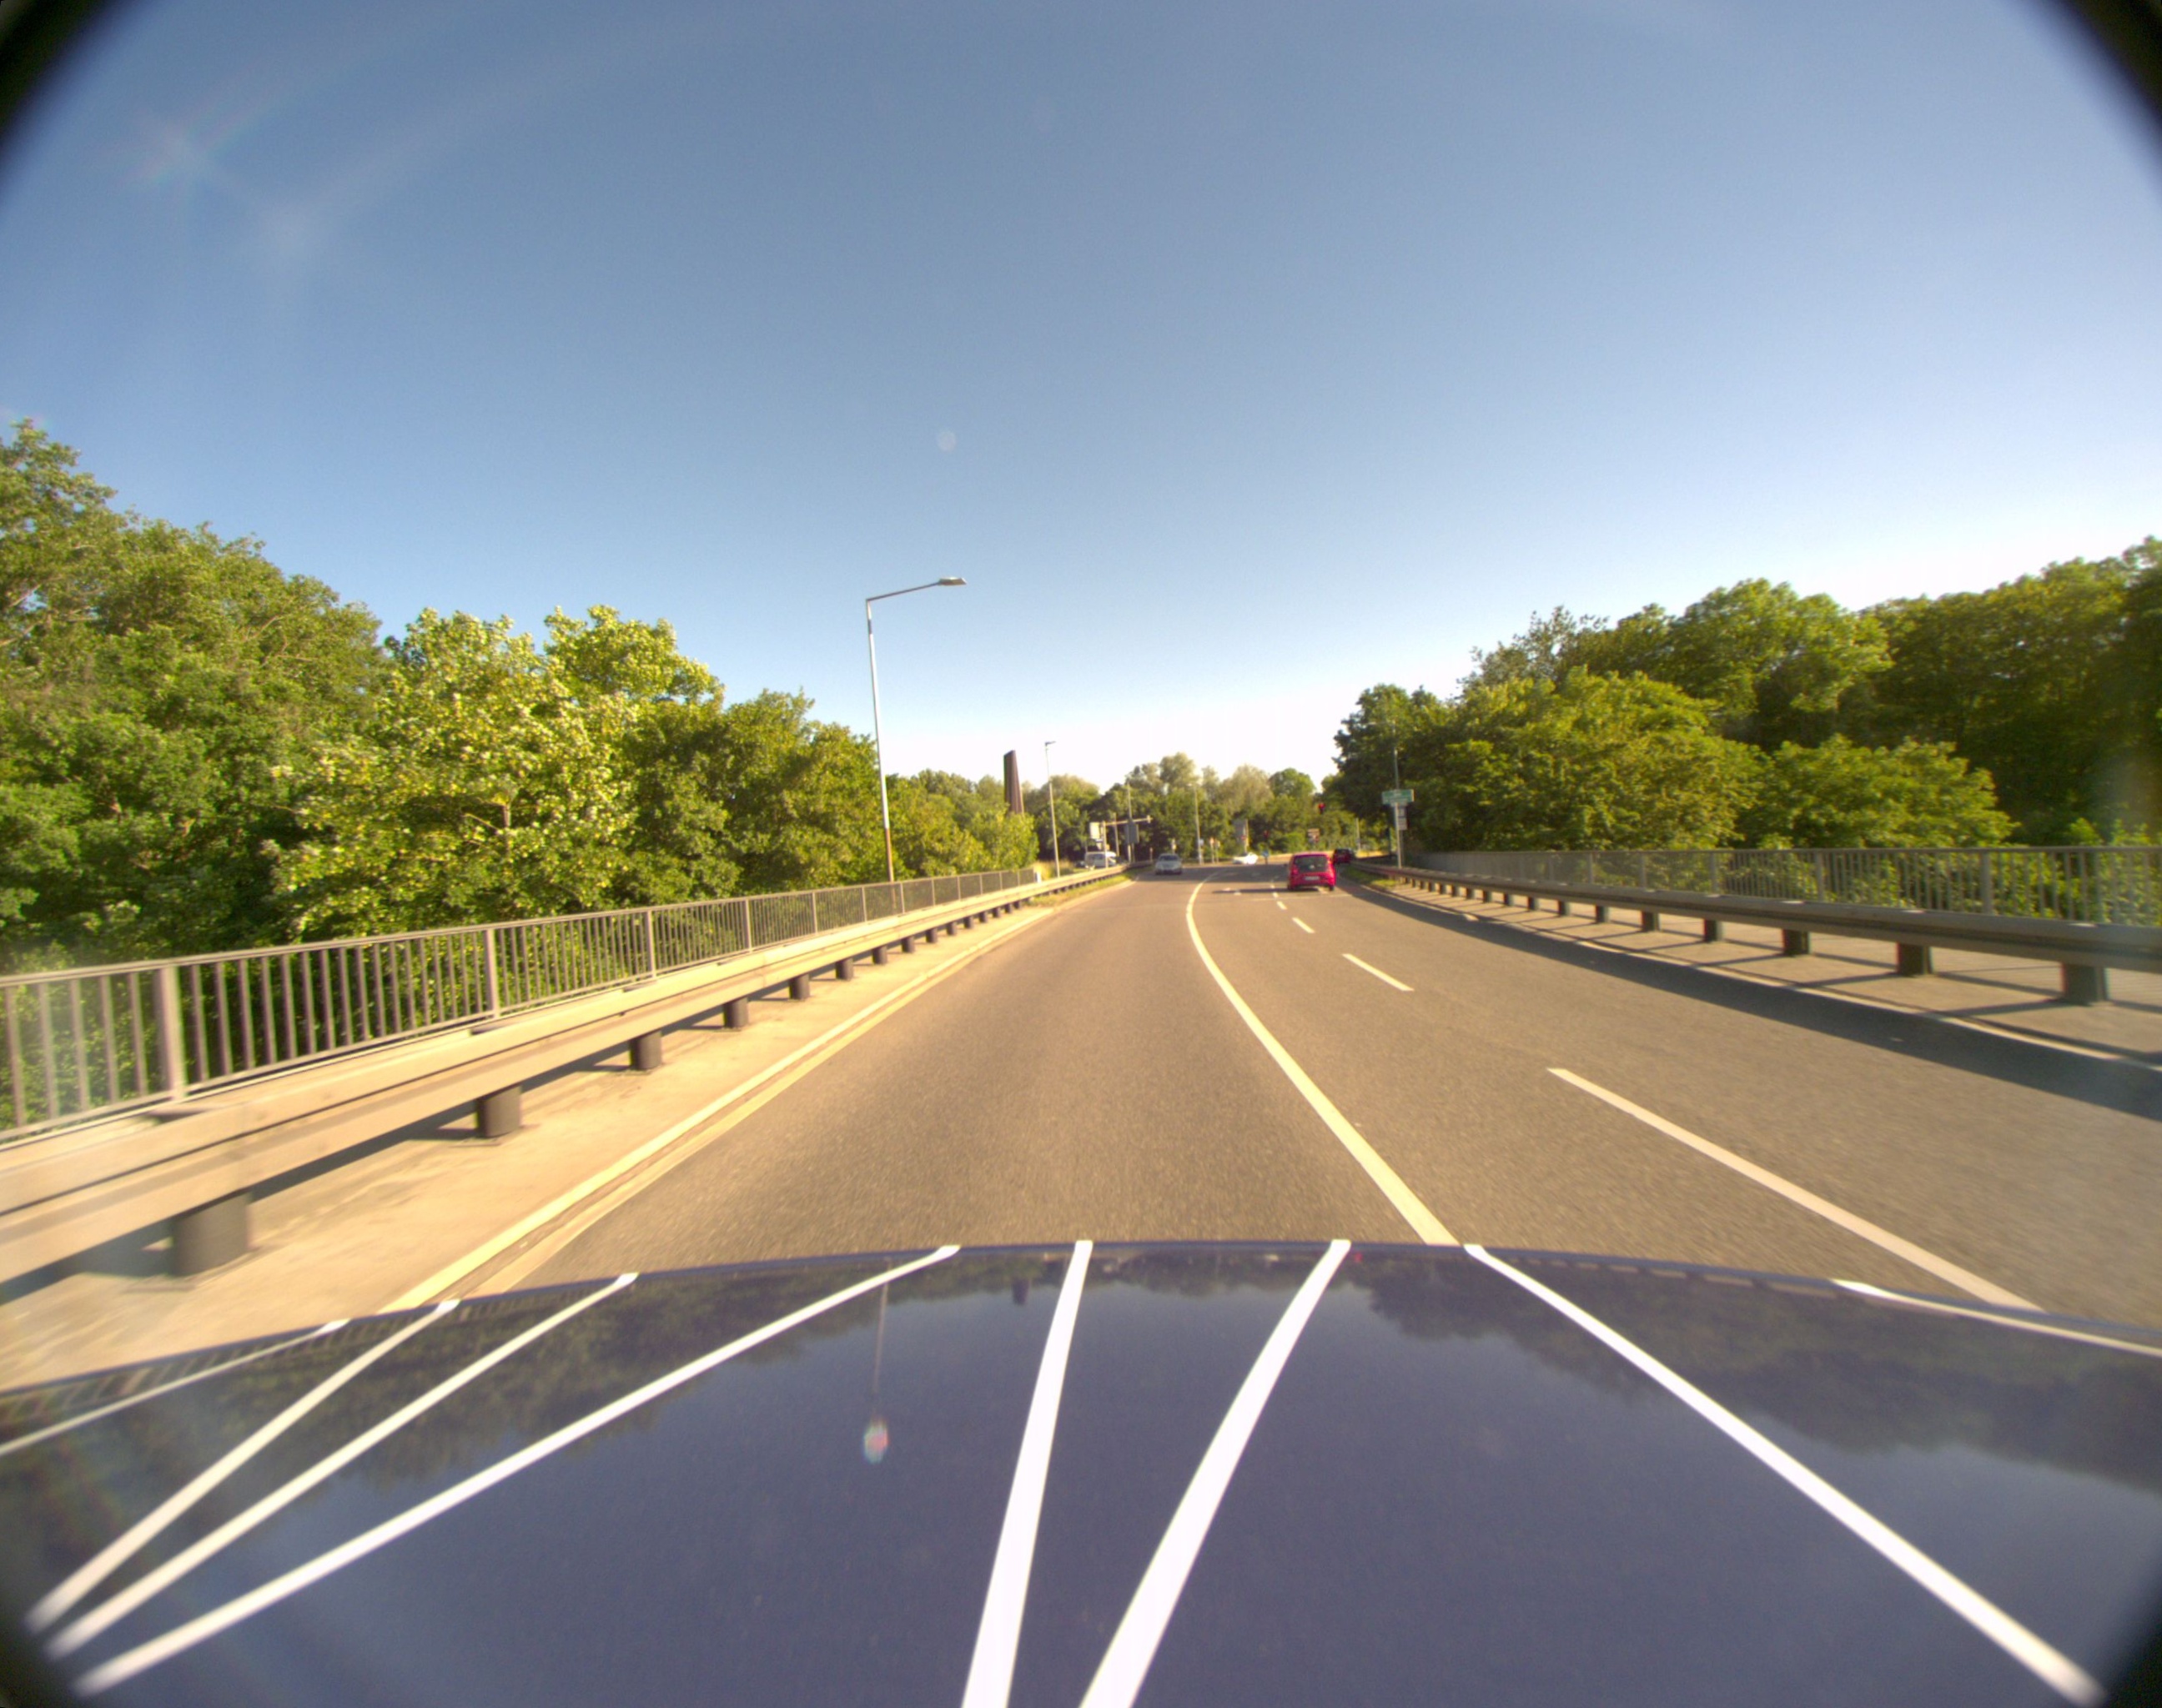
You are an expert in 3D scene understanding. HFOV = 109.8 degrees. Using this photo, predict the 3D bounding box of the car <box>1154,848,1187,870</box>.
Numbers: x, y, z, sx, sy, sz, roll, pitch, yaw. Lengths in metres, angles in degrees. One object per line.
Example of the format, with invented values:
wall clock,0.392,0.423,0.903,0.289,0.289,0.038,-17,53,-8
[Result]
car,6.381,0.312,53.598,1.762,1.428,4.334,-2,0,13

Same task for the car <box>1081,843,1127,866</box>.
car,2.928,0.114,96.152,5.691,2.484,2.119,-4,-1,43

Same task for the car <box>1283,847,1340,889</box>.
car,8.796,0.493,29.235,1.784,1.429,3.878,-2,1,12

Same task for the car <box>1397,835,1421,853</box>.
car,41.383,-1.265,95.813,1.950,2.100,5.280,0,1,33

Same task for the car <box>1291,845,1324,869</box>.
car,15.050,0.157,50.406,1.726,1.478,4.413,-2,1,21

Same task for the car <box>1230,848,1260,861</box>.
car,20.422,0.093,94.415,1.989,1.465,4.138,-2,1,37

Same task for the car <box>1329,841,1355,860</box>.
car,23.803,-0.330,69.205,1.806,1.628,4.006,-2,1,24
